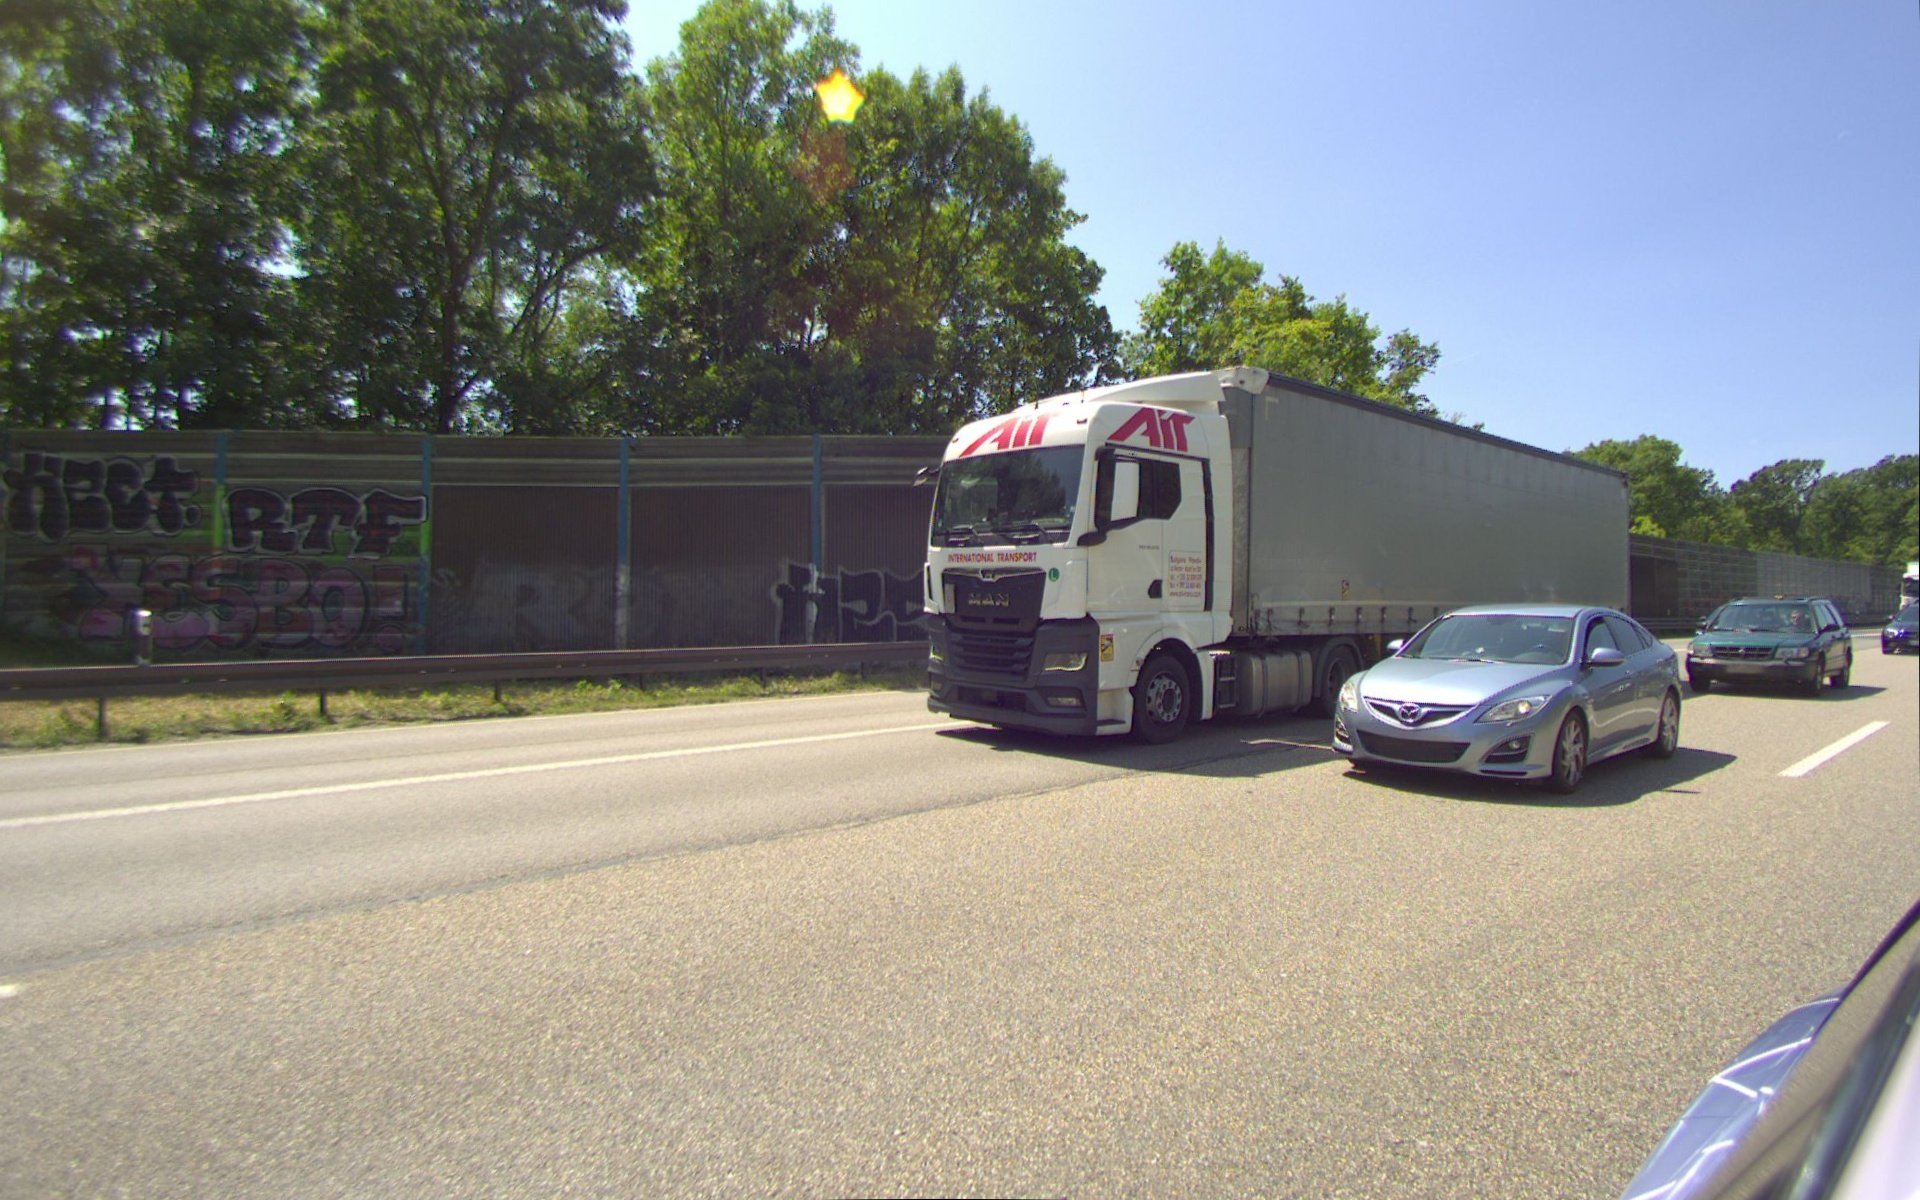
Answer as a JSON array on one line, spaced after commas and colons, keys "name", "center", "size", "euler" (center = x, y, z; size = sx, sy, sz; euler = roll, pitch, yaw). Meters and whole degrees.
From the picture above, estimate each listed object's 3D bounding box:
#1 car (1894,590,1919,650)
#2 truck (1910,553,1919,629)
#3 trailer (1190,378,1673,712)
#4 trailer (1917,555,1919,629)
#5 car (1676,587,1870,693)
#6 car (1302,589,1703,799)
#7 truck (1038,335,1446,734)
[{"name": "car", "center": [28.833, 0.570, 29.398], "size": [3.928, 1.672, 1.997], "euler": [0, -1, -40]}, {"name": "truck", "center": [56.596, -0.506, 57.756], "size": [5.324, 4.269, 2.810], "euler": [1, -1, -40]}, {"name": "trailer", "center": [9.179, -0.700, 17.959], "size": [13.354, 4.142, 2.602], "euler": [0, 0, -41]}, {"name": "trailer", "center": [61.774, -0.417, 62.100], "size": [13.222, 4.269, 2.820], "euler": [1, -1, -40]}, {"name": "car", "center": [13.752, 0.617, 17.057], "size": [3.930, 1.579, 1.905], "euler": [1, -1, -42]}, {"name": "car", "center": [4.999, 0.675, 9.090], "size": [4.103, 1.452, 1.859], "euler": [1, -1, -41]}, {"name": "truck", "center": [3.863, -0.691, 13.294], "size": [5.455, 4.142, 2.602], "euler": [0, 0, -41]}]
